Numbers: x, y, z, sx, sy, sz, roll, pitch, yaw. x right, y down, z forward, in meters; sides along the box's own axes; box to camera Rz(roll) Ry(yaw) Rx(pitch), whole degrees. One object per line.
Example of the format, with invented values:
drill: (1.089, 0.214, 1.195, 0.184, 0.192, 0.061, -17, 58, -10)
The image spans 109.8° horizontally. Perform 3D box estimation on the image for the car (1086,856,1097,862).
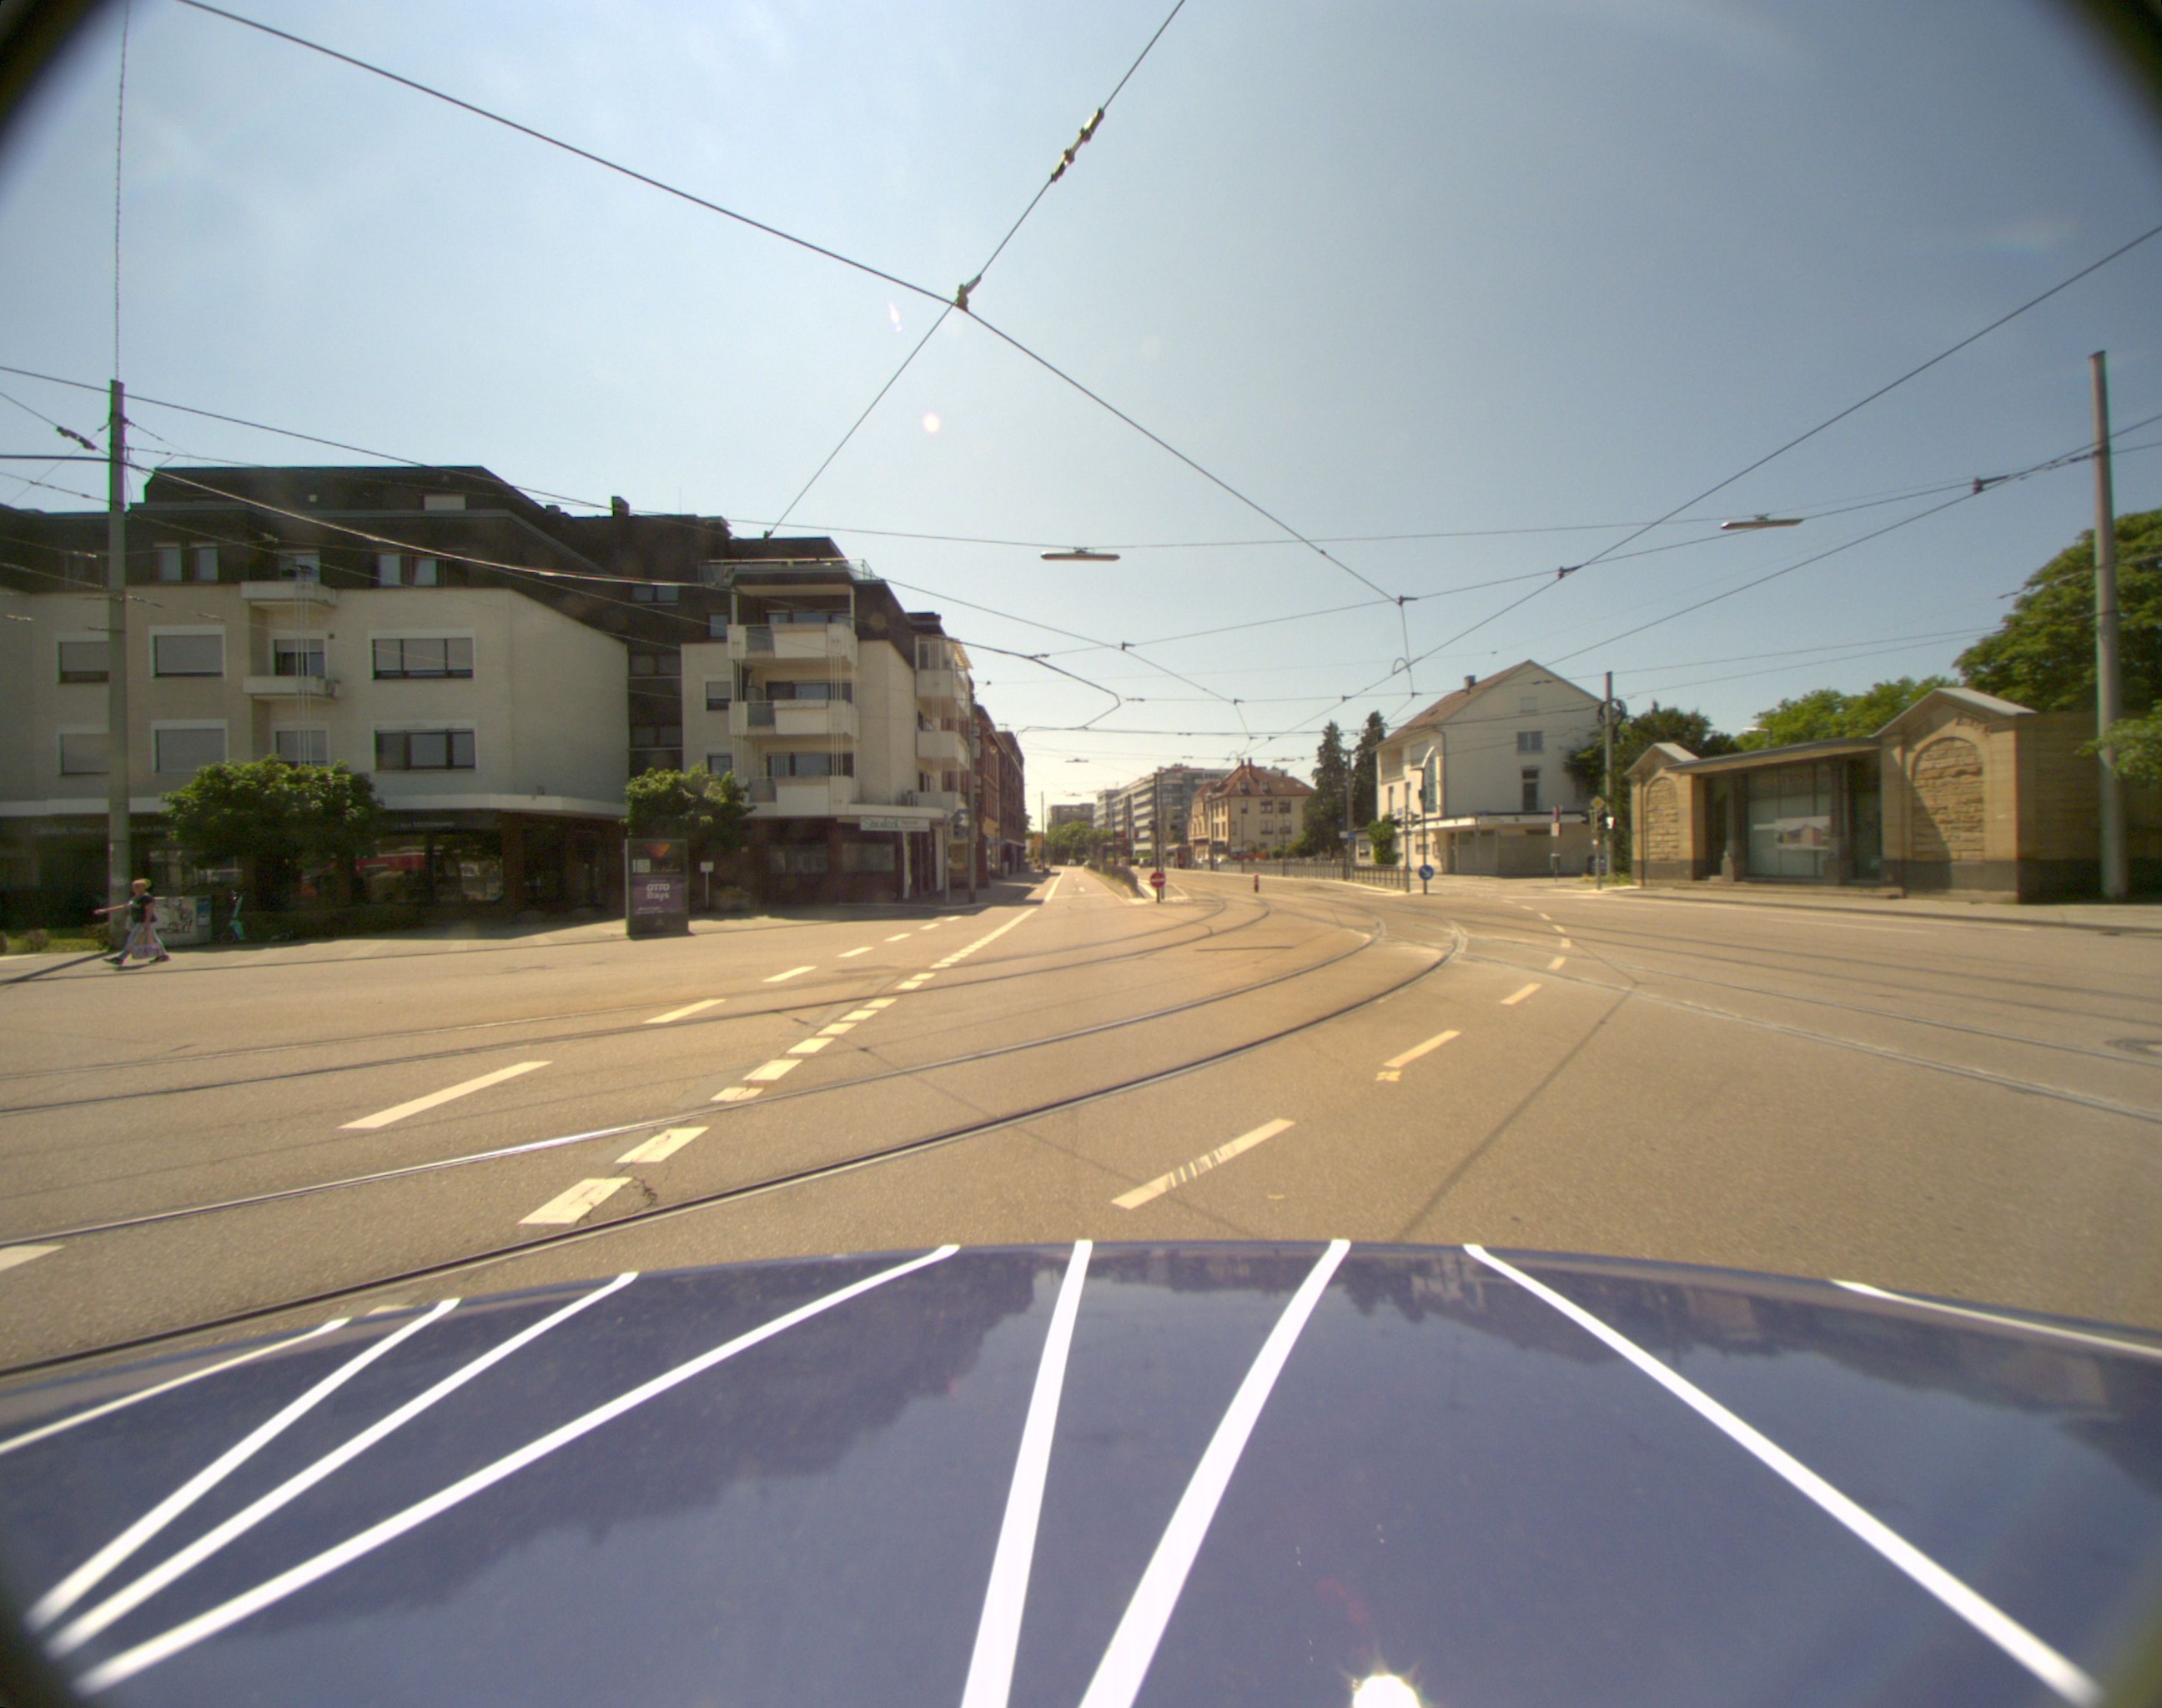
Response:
car: (2.548, 1.310, 184.781, 1.824, 1.459, 4.619, -1, 0, -12)

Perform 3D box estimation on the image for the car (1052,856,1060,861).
car: (-8.338, 1.477, 251.689, 1.575, 1.473, 3.597, -1, 0, -16)

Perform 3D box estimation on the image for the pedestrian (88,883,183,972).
pedestrian: (-17.643, 1.352, 14.194, 0.827, 1.574, 0.827, -1, 0, 16)

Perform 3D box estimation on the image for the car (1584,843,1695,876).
car: (27.029, 0.272, 36.884, 3.954, 1.444, 1.824, -2, 0, 4)

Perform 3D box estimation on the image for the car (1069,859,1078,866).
car: (-2.112, 2.413, 209.819, 1.862, 1.806, 4.694, -1, -1, -10)

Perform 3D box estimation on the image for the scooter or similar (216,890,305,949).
scooter or similar: (-18.312, 1.451, 16.977, 1.257, 1.205, 0.393, -2, 1, -27)

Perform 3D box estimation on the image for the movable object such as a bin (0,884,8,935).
movable object such as a bin: (-30.338, 1.552, 20.477, 1.059, 1.398, 1.194, -2, 0, -1)

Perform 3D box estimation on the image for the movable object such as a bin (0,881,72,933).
movable object such as a bin: (-30.179, 1.496, 21.676, 1.321, 1.398, 1.063, -2, 0, -2)

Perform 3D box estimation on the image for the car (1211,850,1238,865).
car: (15.652, 0.366, 83.011, 1.823, 1.481, 4.498, -1, 0, -3)
